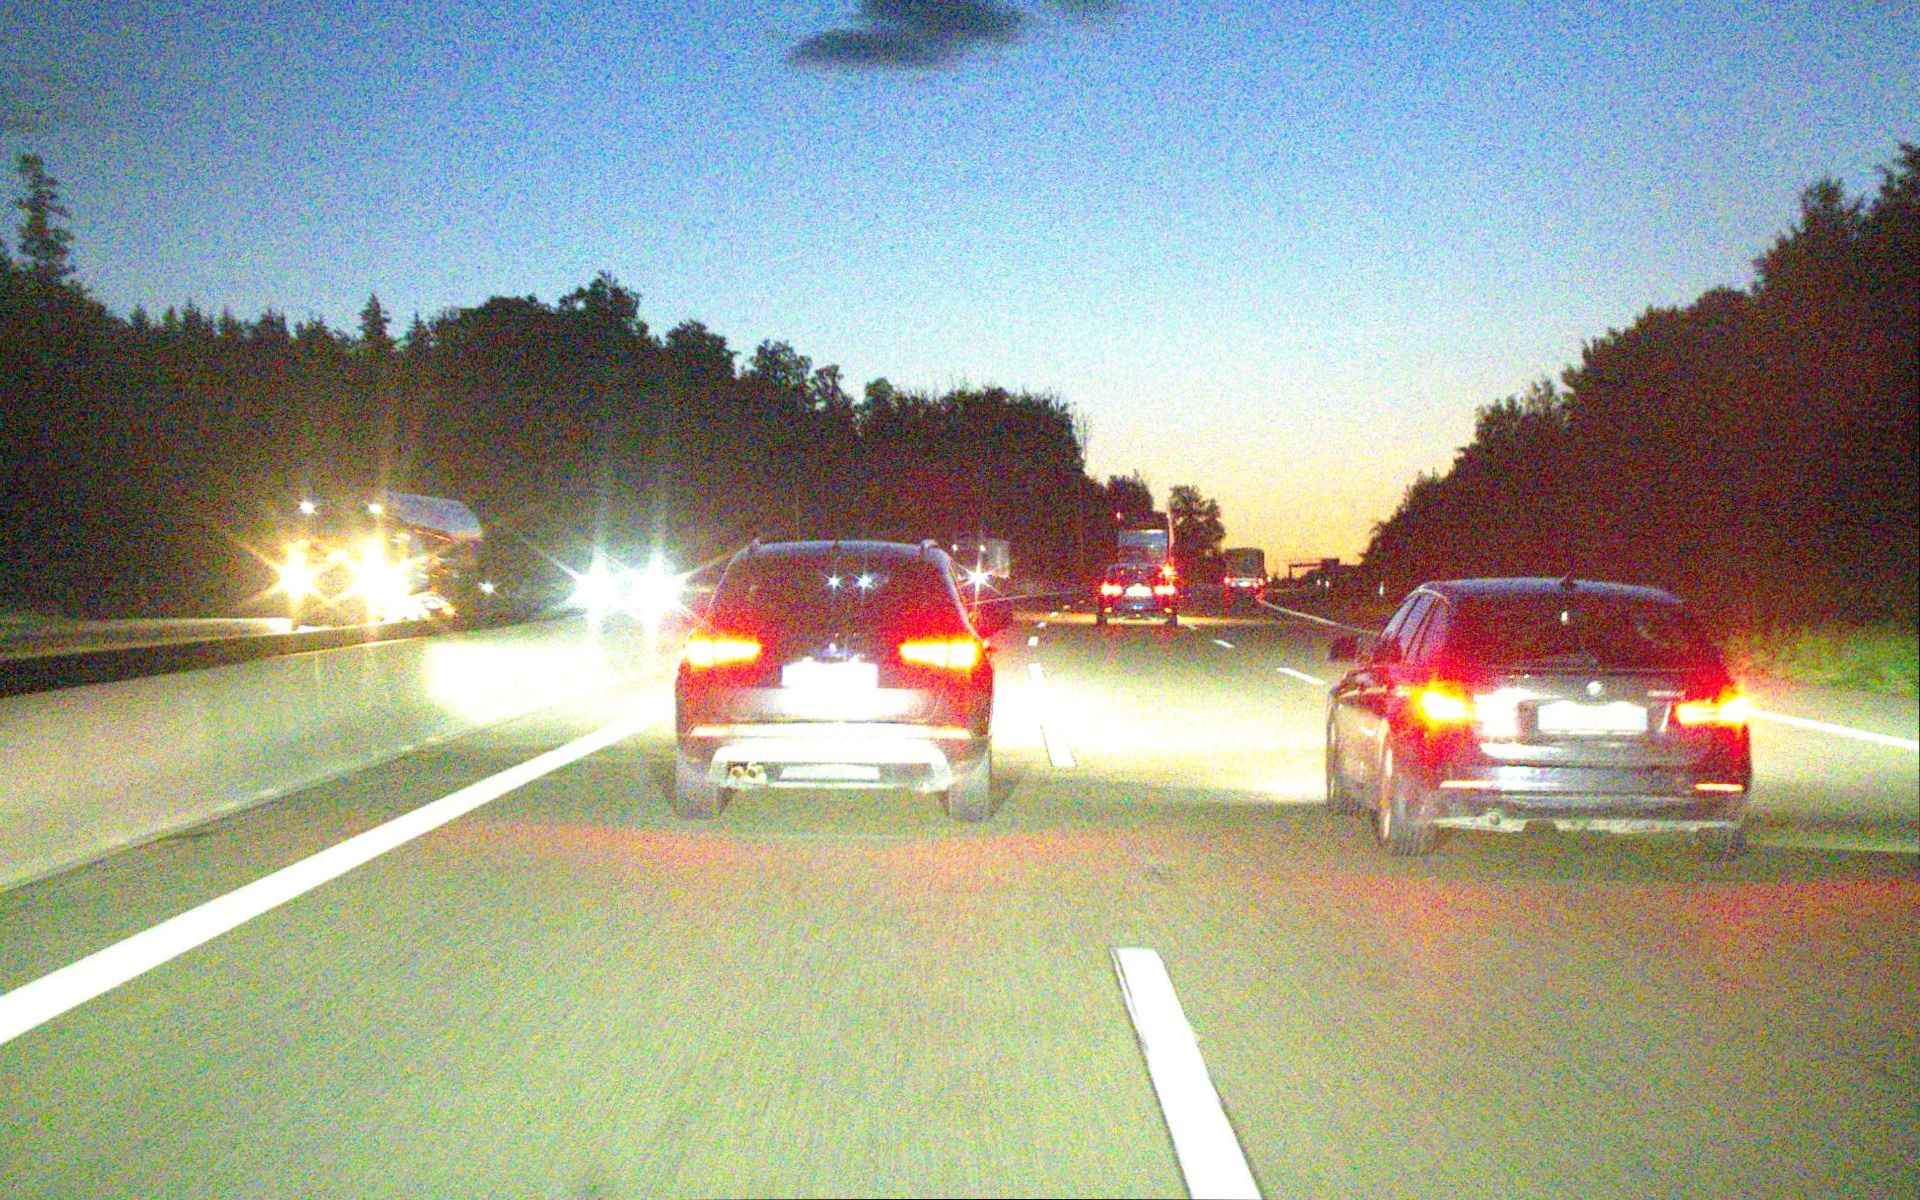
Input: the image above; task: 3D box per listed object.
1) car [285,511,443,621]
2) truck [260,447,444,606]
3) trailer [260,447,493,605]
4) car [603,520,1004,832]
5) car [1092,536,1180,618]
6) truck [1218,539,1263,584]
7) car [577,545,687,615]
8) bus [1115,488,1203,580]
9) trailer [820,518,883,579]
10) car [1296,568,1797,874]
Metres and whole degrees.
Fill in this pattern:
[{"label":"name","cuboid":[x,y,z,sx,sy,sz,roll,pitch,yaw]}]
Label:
[{"label":"car","cuboid":[-12.453,-0.729,72.292,2.052,2.190,6.967,0,1,0]},{"label":"truck","cuboid":[-15.966,-1.902,90.812,3.437,3.993,6.775,1,1,2]},{"label":"trailer","cuboid":[-15.845,-1.954,94.780,3.437,3.993,14.759,1,1,2]},{"label":"car","cuboid":[-0.890,0.358,20.416,2.105,1.612,4.205,1,1,-2]},{"label":"car","cuboid":[4.075,-0.509,79.515,1.911,1.724,3.999,3,0,3]},{"label":"truck","cuboid":[19.479,-2.679,239.308,2.546,3.005,9.053,1,1,1]},{"label":"car","cuboid":[-7.807,-0.504,82.191,2.066,1.617,4.695,0,1,1]},{"label":"bus","cuboid":[9.852,-3.128,168.840,2.653,3.980,14.695,-2,-1,9]},{"label":"trailer","cuboid":[-6.695,-3.190,212.670,3.058,3.676,7.228,1,1,5]},{"label":"car","cuboid":[3.006,0.544,18.700,1.835,1.396,5.069,0,1,0]}]
